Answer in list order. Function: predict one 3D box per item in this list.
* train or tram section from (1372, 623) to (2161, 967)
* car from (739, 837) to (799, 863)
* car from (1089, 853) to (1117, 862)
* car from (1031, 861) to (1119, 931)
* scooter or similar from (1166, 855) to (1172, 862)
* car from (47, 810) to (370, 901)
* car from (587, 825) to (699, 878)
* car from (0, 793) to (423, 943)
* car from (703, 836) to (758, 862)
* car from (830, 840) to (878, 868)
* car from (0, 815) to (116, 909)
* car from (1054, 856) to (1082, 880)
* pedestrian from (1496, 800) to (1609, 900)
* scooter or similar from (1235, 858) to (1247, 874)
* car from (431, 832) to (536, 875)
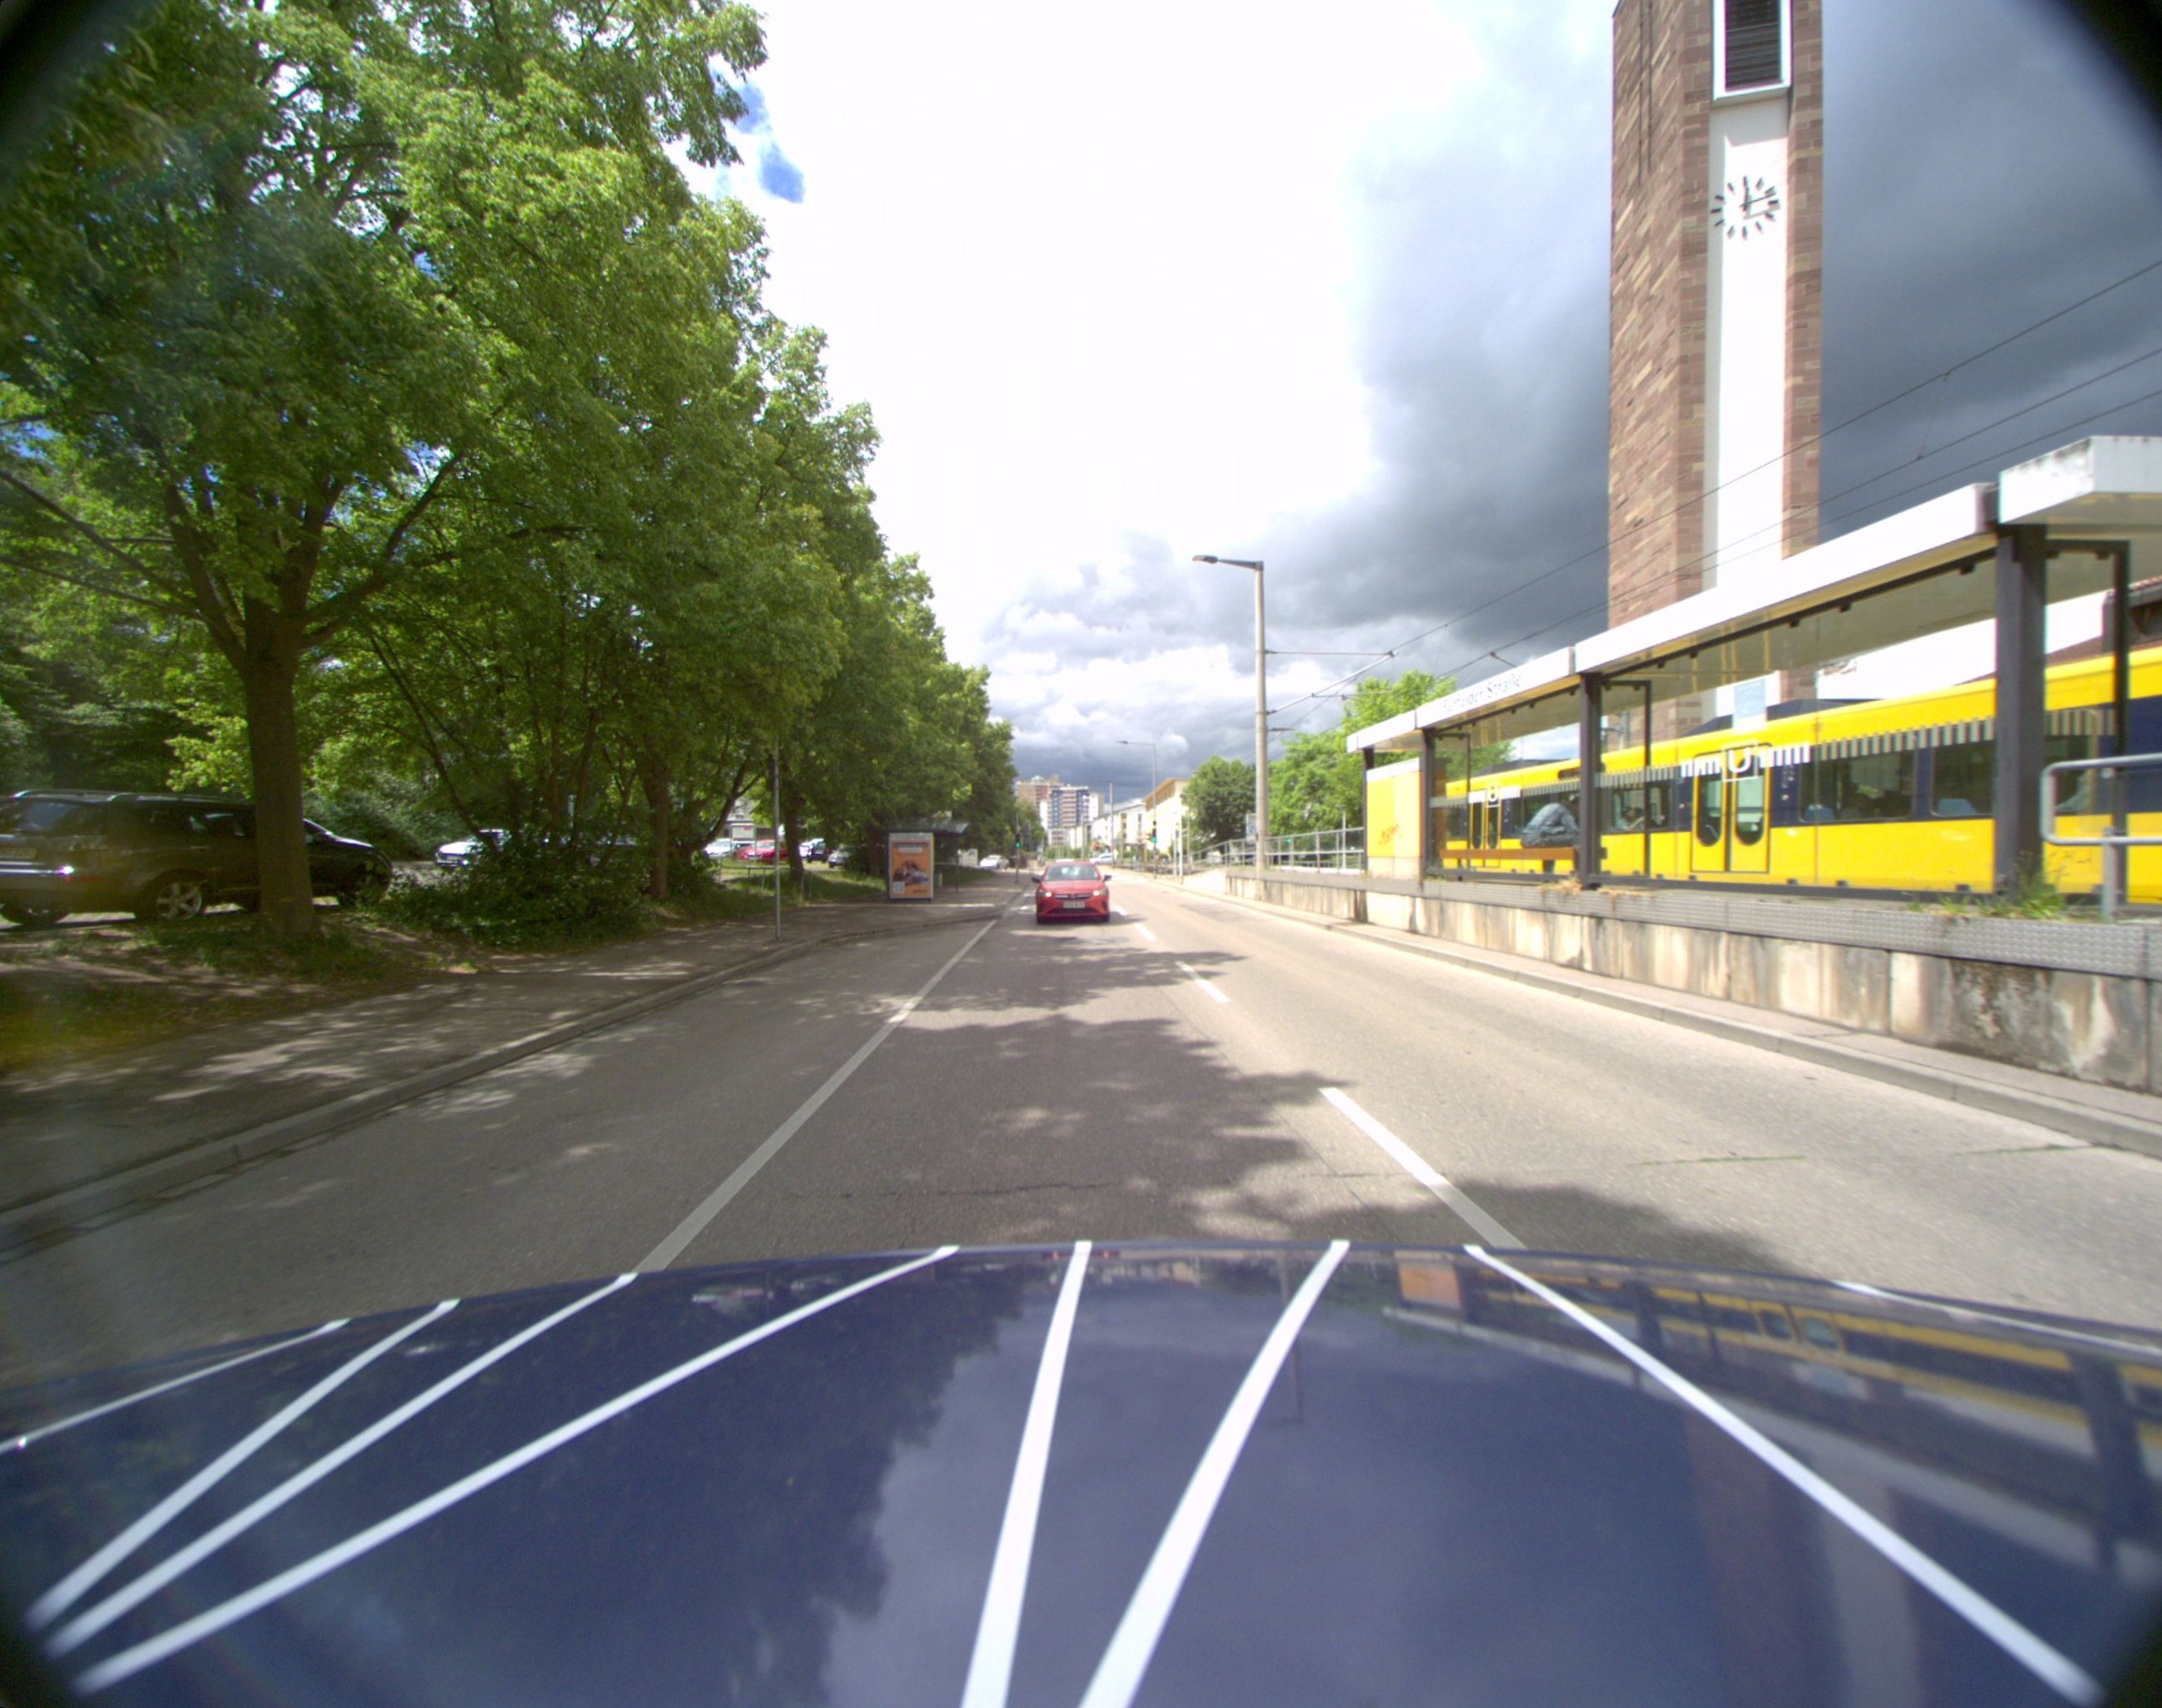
[{"bbox_3d":[12.006,-0.677,17.088,3.116,3.444,18.821,-2,0,-2],"label":"train or tram section"},{"bbox_3d":[-18.611,-0.229,45.521,1.757,1.469,4.543,2,0,-1],"label":"car"},{"bbox_3d":[3.501,0.604,121.360,4.141,1.286,1.630,3,0,-13],"label":"car"},{"bbox_3d":[-0.265,0.950,18.862,1.784,1.433,4.129,-2,0,-5],"label":"car"},{"bbox_3d":[12.719,0.658,109.863,0.606,1.108,0.820,-1,1,-3],"label":"scooter or similar"},{"bbox_3d":[-17.555,0.048,15.698,1.473,1.546,4.432,3,0,1],"label":"car"},{"bbox_3d":[-15.724,-0.158,27.541,1.692,1.685,4.259,3,2,-3],"label":"car"},{"bbox_3d":[-12.306,0.159,10.774,1.851,1.652,4.723,-1,0,-1],"label":"car"},{"bbox_3d":[-20.827,-0.289,45.318,1.635,1.469,3.662,2,0,-1],"label":"car"},{"bbox_3d":[-13.457,-0.008,45.267,1.631,1.505,4.138,3,0,-2],"label":"car"},{"bbox_3d":[-17.278,0.105,10.799,1.617,1.433,4.352,2,0,-1],"label":"car"},{"bbox_3d":[-0.876,0.868,49.329,1.499,1.477,3.518,0,0,-5],"label":"car"},{"bbox_3d":[5.870,-0.048,9.514,0.798,1.180,0.919,1,0,-3],"label":"pedestrian"},{"bbox_3d":[13.094,0.971,62.317,0.651,1.229,1.401,-2,0,-1],"label":"scooter or similar"},{"bbox_3d":[-20.352,-0.060,26.022,1.412,1.295,2.858,3,2,-3],"label":"car"}]
